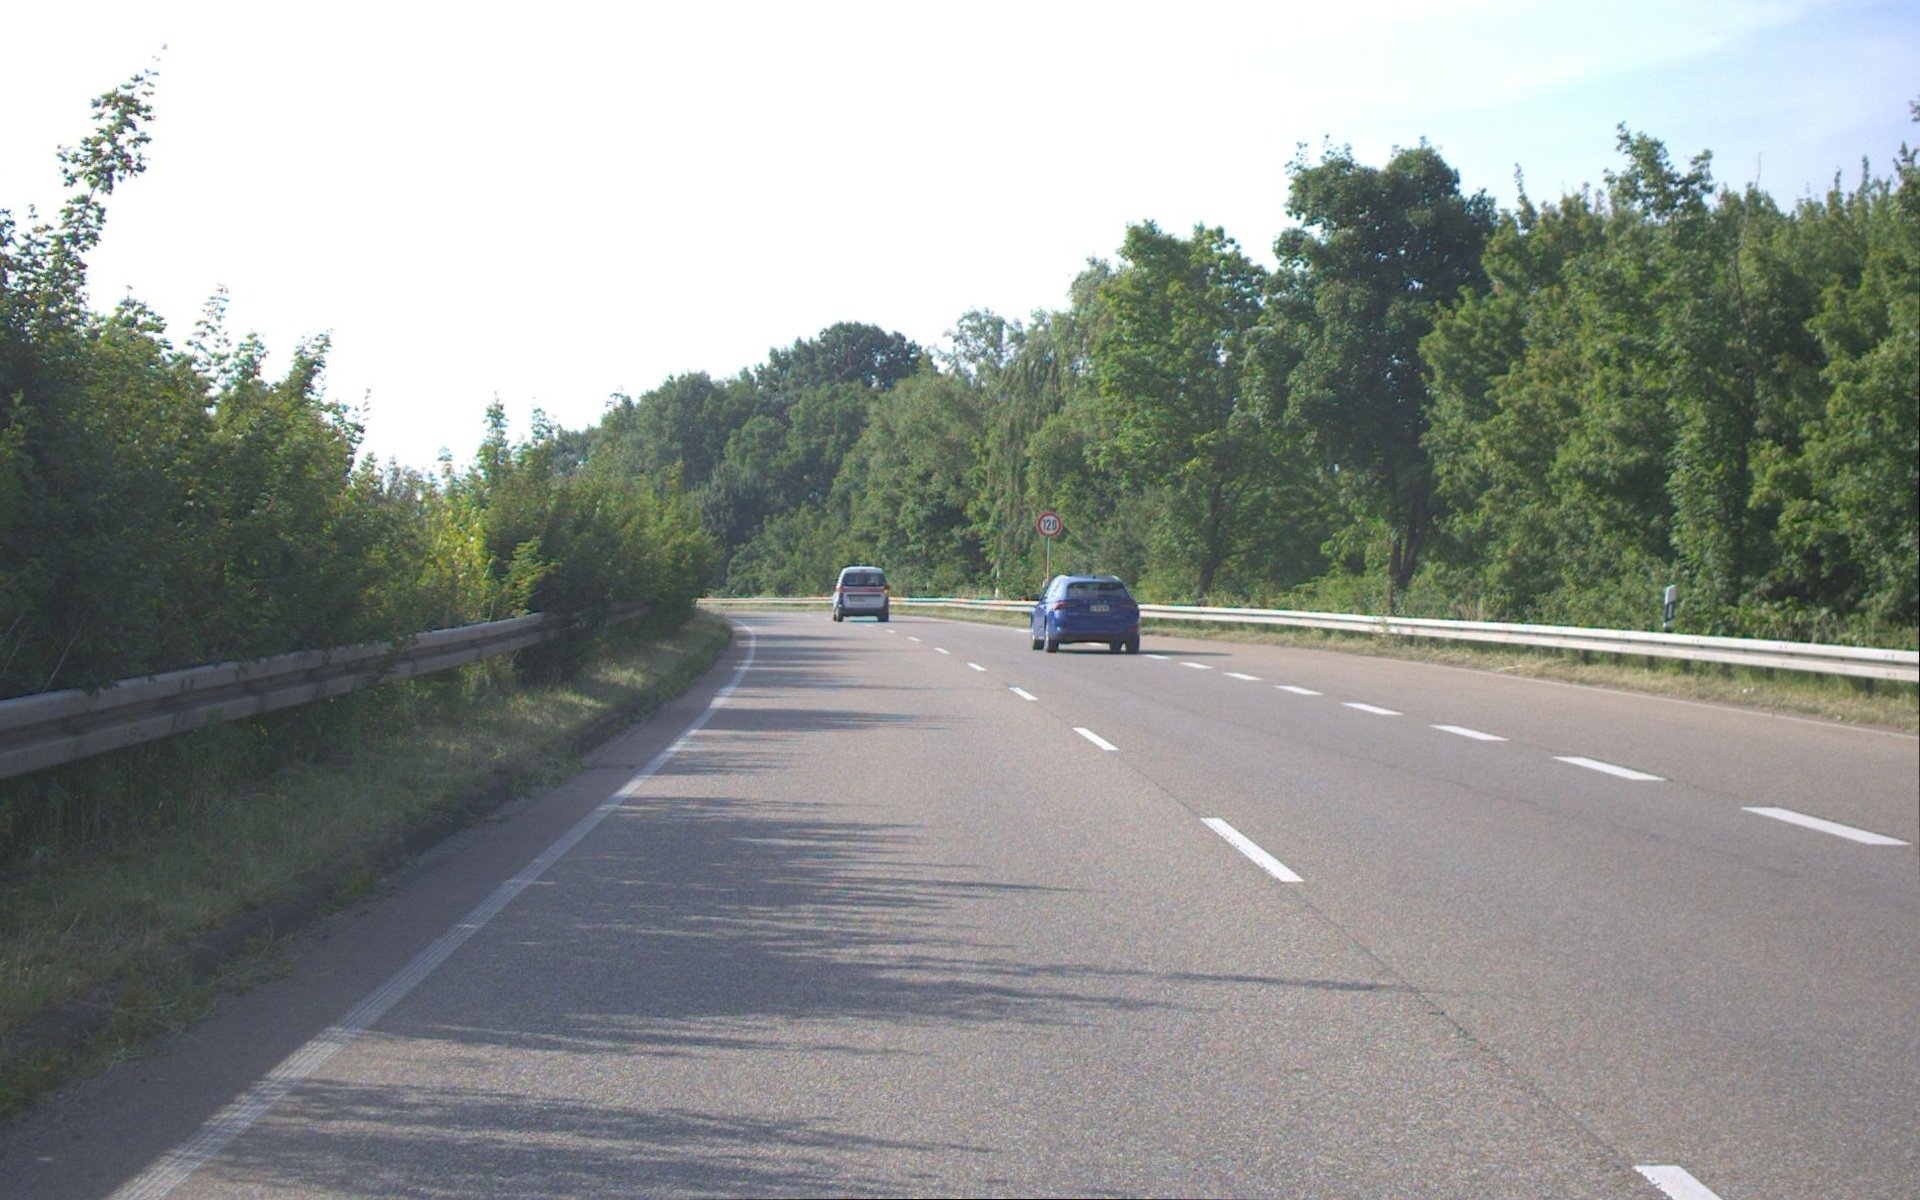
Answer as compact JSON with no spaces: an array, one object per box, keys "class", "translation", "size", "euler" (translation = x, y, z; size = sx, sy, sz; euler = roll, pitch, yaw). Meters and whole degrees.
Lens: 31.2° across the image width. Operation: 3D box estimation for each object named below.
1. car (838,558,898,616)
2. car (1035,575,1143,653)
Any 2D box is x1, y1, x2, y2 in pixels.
[{"class":"car","translation":[-3.062,-0.445,113.633],"size":[1.765,1.875,4.001],"euler":[1,1,-4]},{"class":"car","translation":[2.442,0.261,65.822],"size":[1.779,1.446,4.000],"euler":[0,0,-2]}]
